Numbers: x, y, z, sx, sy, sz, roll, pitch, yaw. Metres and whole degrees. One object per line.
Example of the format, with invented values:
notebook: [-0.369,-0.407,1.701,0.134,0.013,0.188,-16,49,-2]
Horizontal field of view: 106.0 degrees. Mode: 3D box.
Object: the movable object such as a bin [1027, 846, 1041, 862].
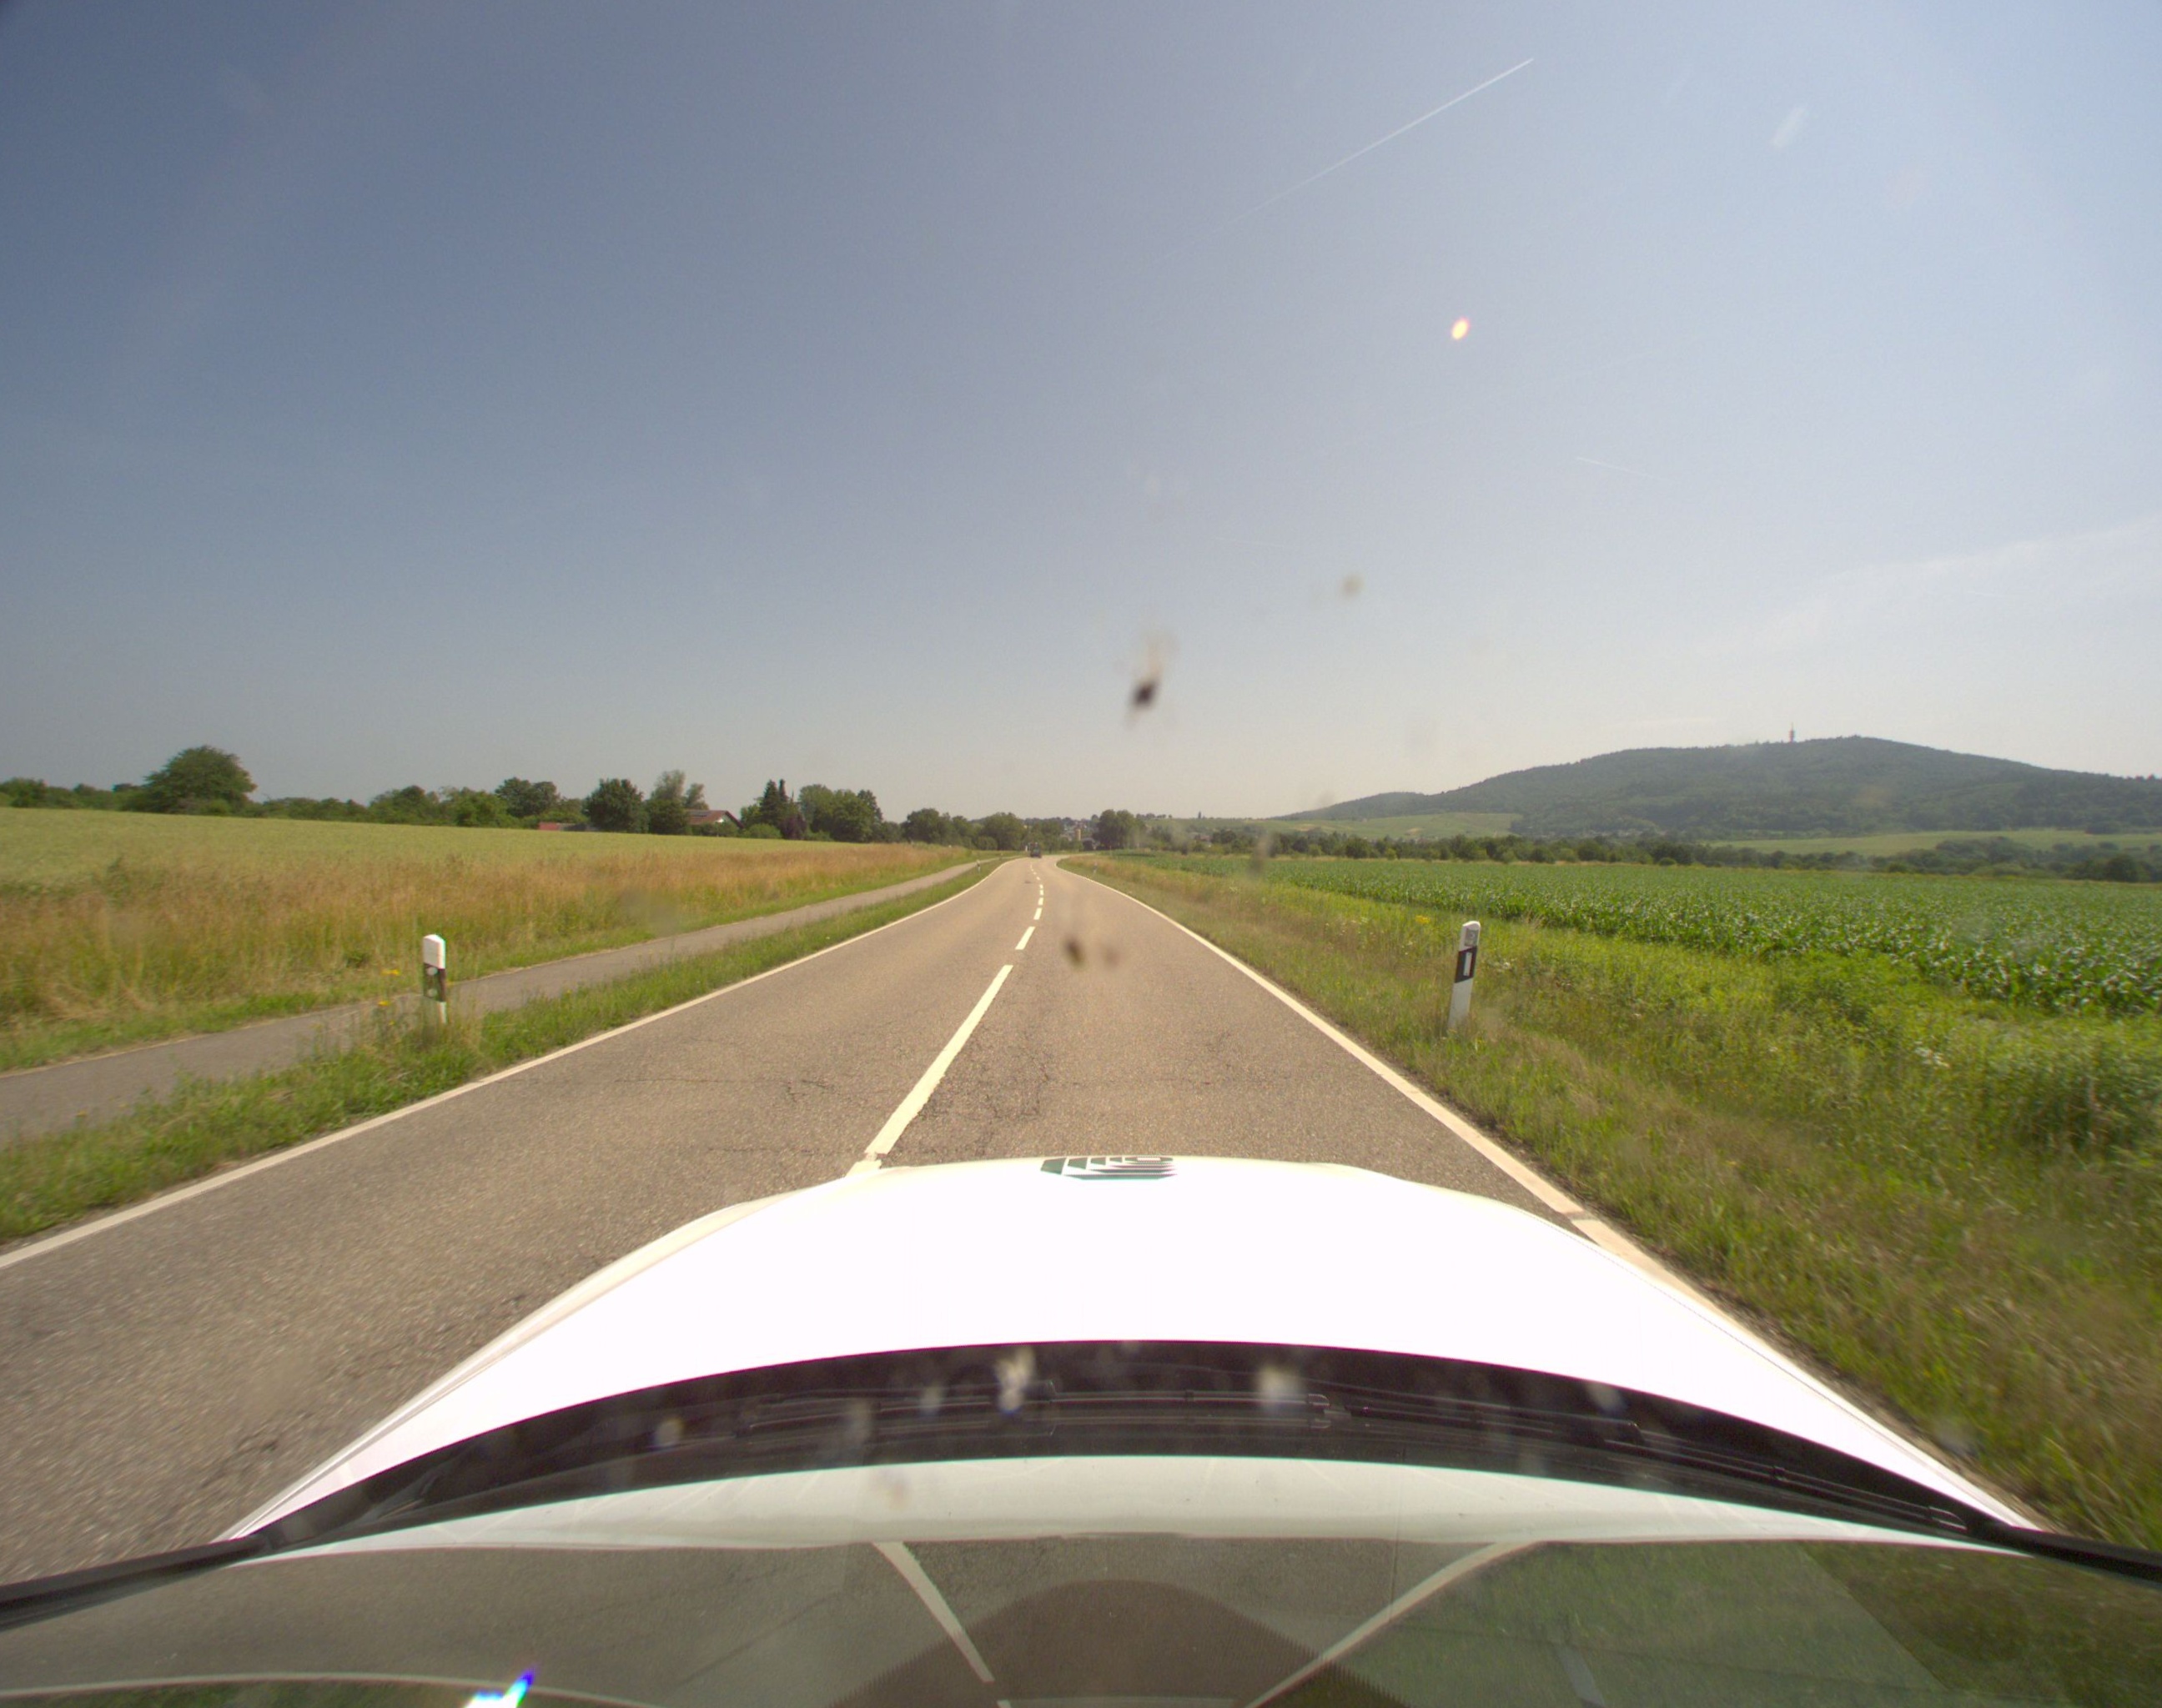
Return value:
movable object such as a bin: [-8.666,-0.049,150.600,1.995,2.754,5.229,4,0,-1]
